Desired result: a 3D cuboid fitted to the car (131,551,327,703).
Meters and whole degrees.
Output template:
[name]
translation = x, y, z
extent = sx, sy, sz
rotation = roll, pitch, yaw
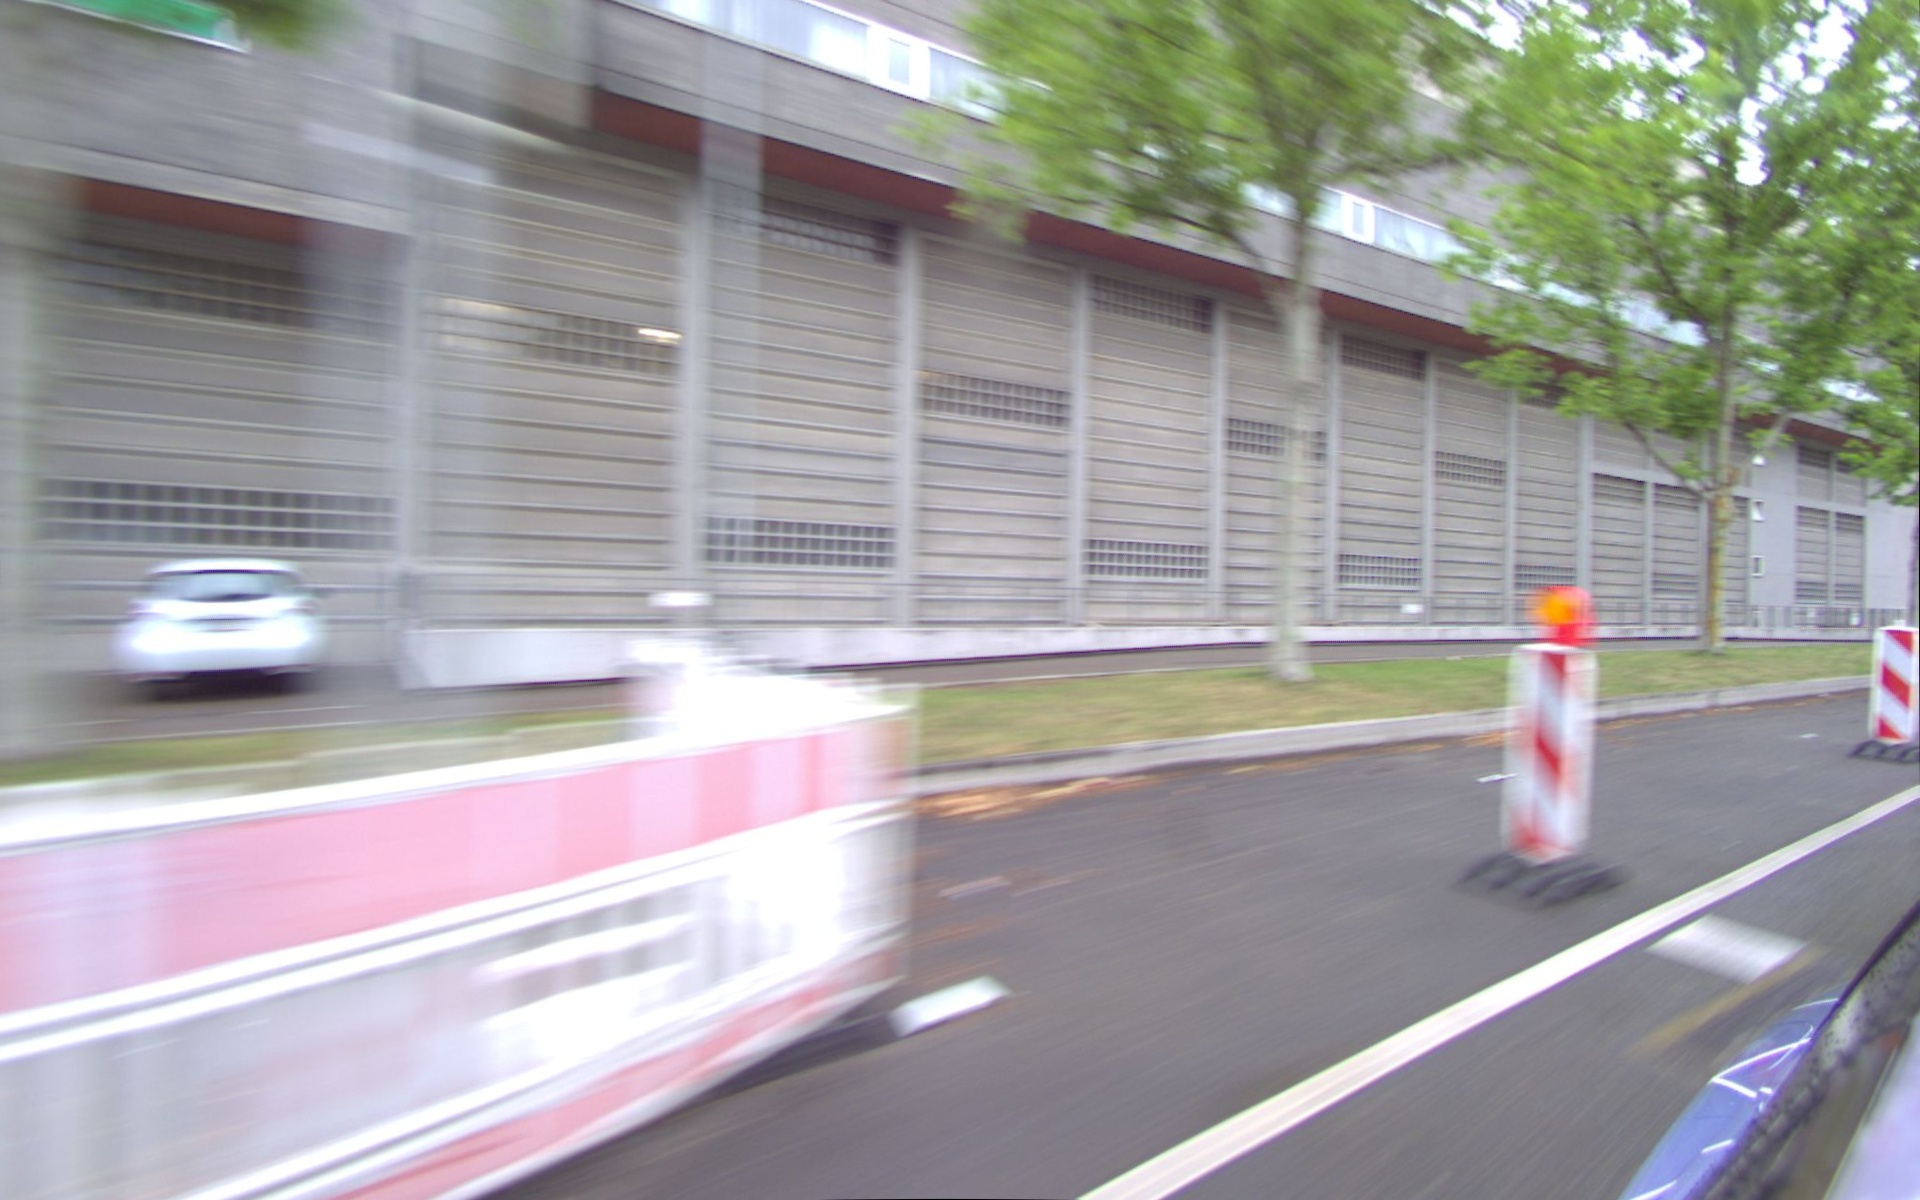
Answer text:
[car]
translation = -9.037, 0.232, 12.723
extent = 1.744, 1.599, 3.852
rotation = 0, 1, -33
